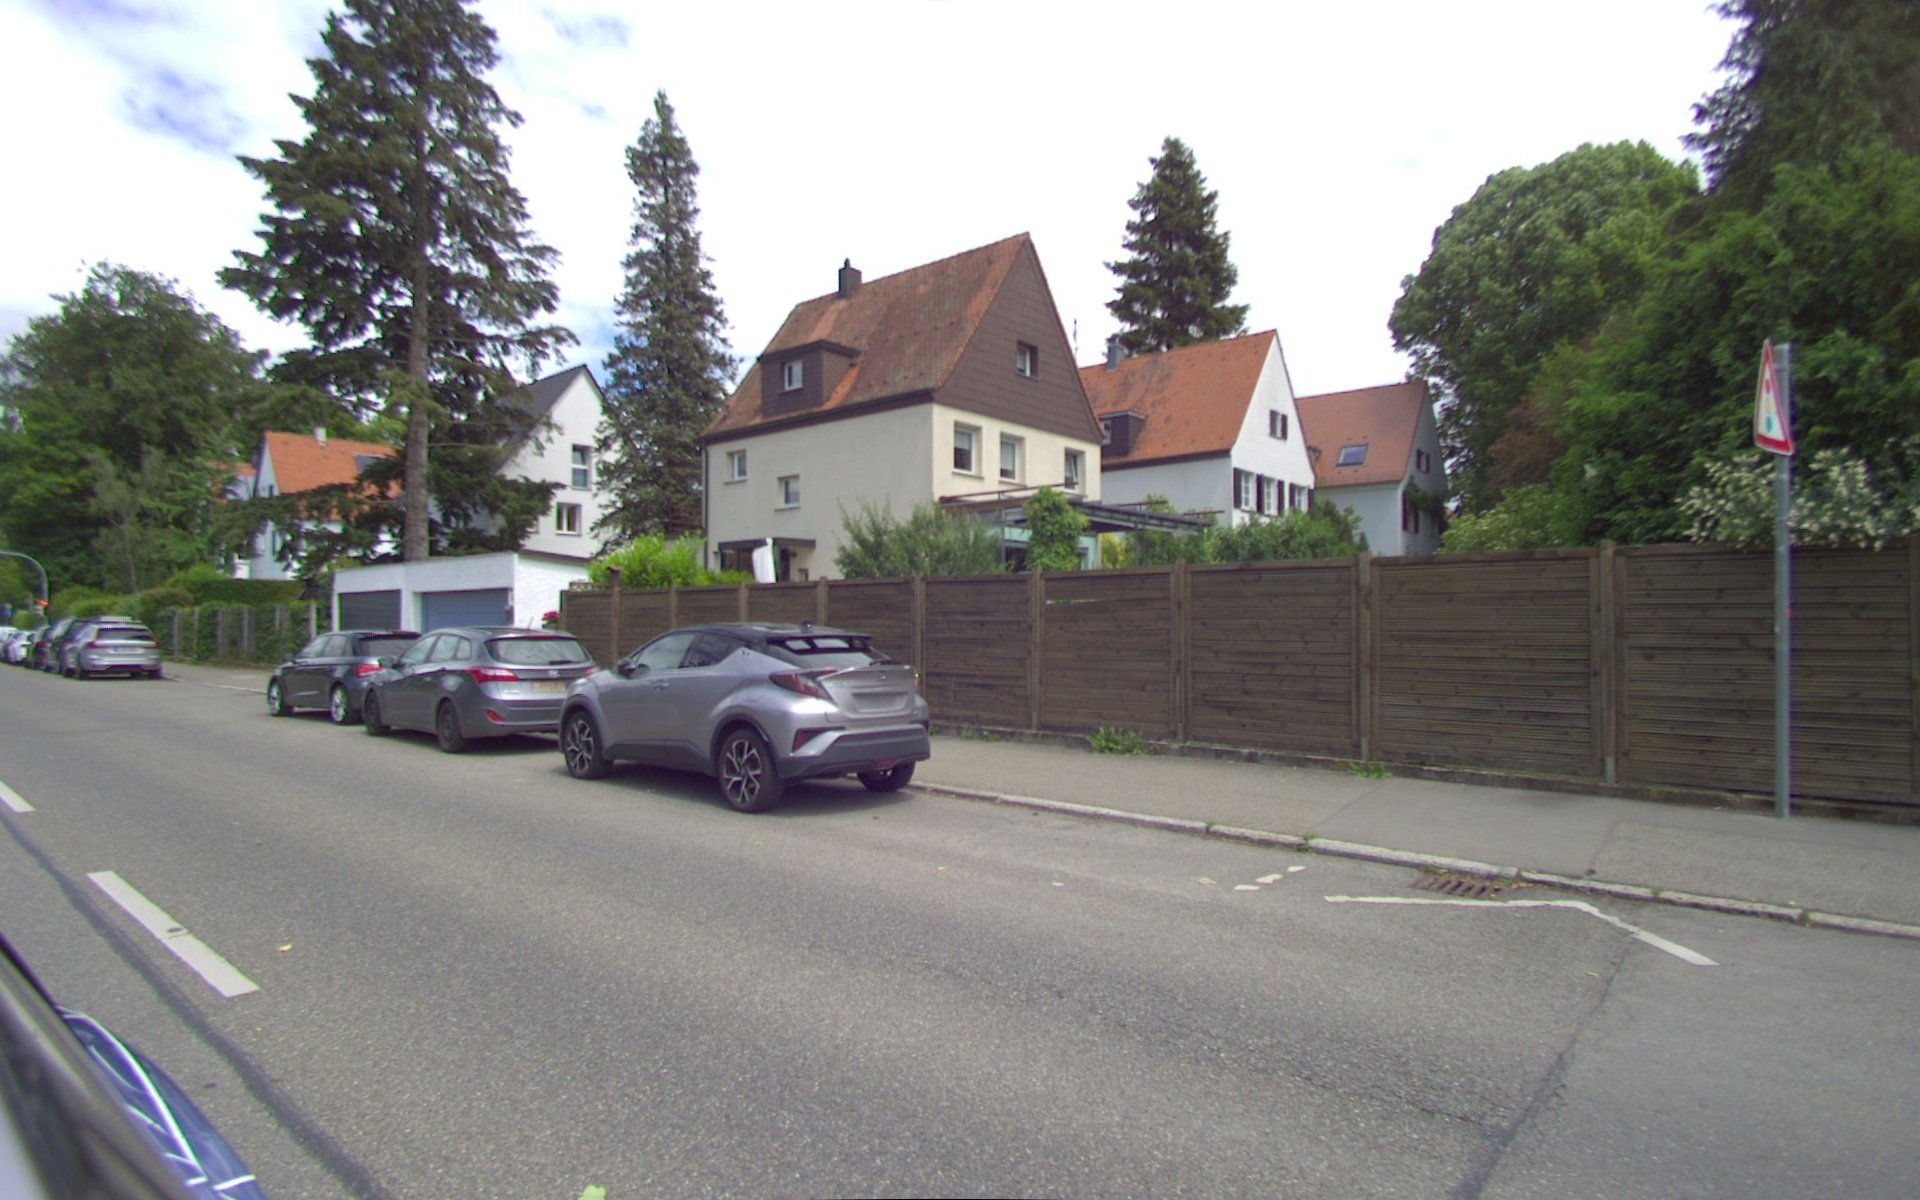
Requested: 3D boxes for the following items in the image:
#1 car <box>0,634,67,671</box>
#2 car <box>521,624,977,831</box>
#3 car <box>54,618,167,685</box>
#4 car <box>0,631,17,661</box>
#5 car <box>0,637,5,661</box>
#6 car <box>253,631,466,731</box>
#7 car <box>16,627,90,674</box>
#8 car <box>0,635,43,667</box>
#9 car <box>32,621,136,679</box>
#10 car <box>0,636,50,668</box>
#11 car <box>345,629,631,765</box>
[{"bbox_3d":[-39.328,2.213,42.898,5.070,1.470,1.785,-2,-4,44],"label":"car"},{"bbox_3d":[-2.208,0.995,9.646,4.648,1.491,1.971,-2,-3,44],"label":"car"},{"bbox_3d":[-25.526,1.514,30.347,4.706,1.833,1.963,-2,-2,42],"label":"car"},{"bbox_3d":[-58.510,2.809,61.291,4.607,1.772,1.658,-2,-4,43],"label":"car"},{"bbox_3d":[-62.398,3.110,64.821,1.684,1.464,4.361,5,-5,-43],"label":"car"},{"bbox_3d":[-9.810,1.253,16.438,3.899,1.438,1.635,-2,-3,37],"label":"car"},{"bbox_3d":[-34.599,1.924,38.565,4.583,1.691,1.609,-2,-4,42],"label":"car"},{"bbox_3d":[-47.395,2.548,50.857,3.744,1.555,1.683,-3,-4,45],"label":"car"},{"bbox_3d":[-29.998,1.670,34.592,4.881,1.768,2.045,-2,0,41],"label":"car"},{"bbox_3d":[-43.435,2.387,46.780,4.325,1.421,1.723,-3,-4,45],"label":"car"},{"bbox_3d":[-6.301,1.122,13.253,4.489,1.470,1.847,-1,-2,43],"label":"car"}]
